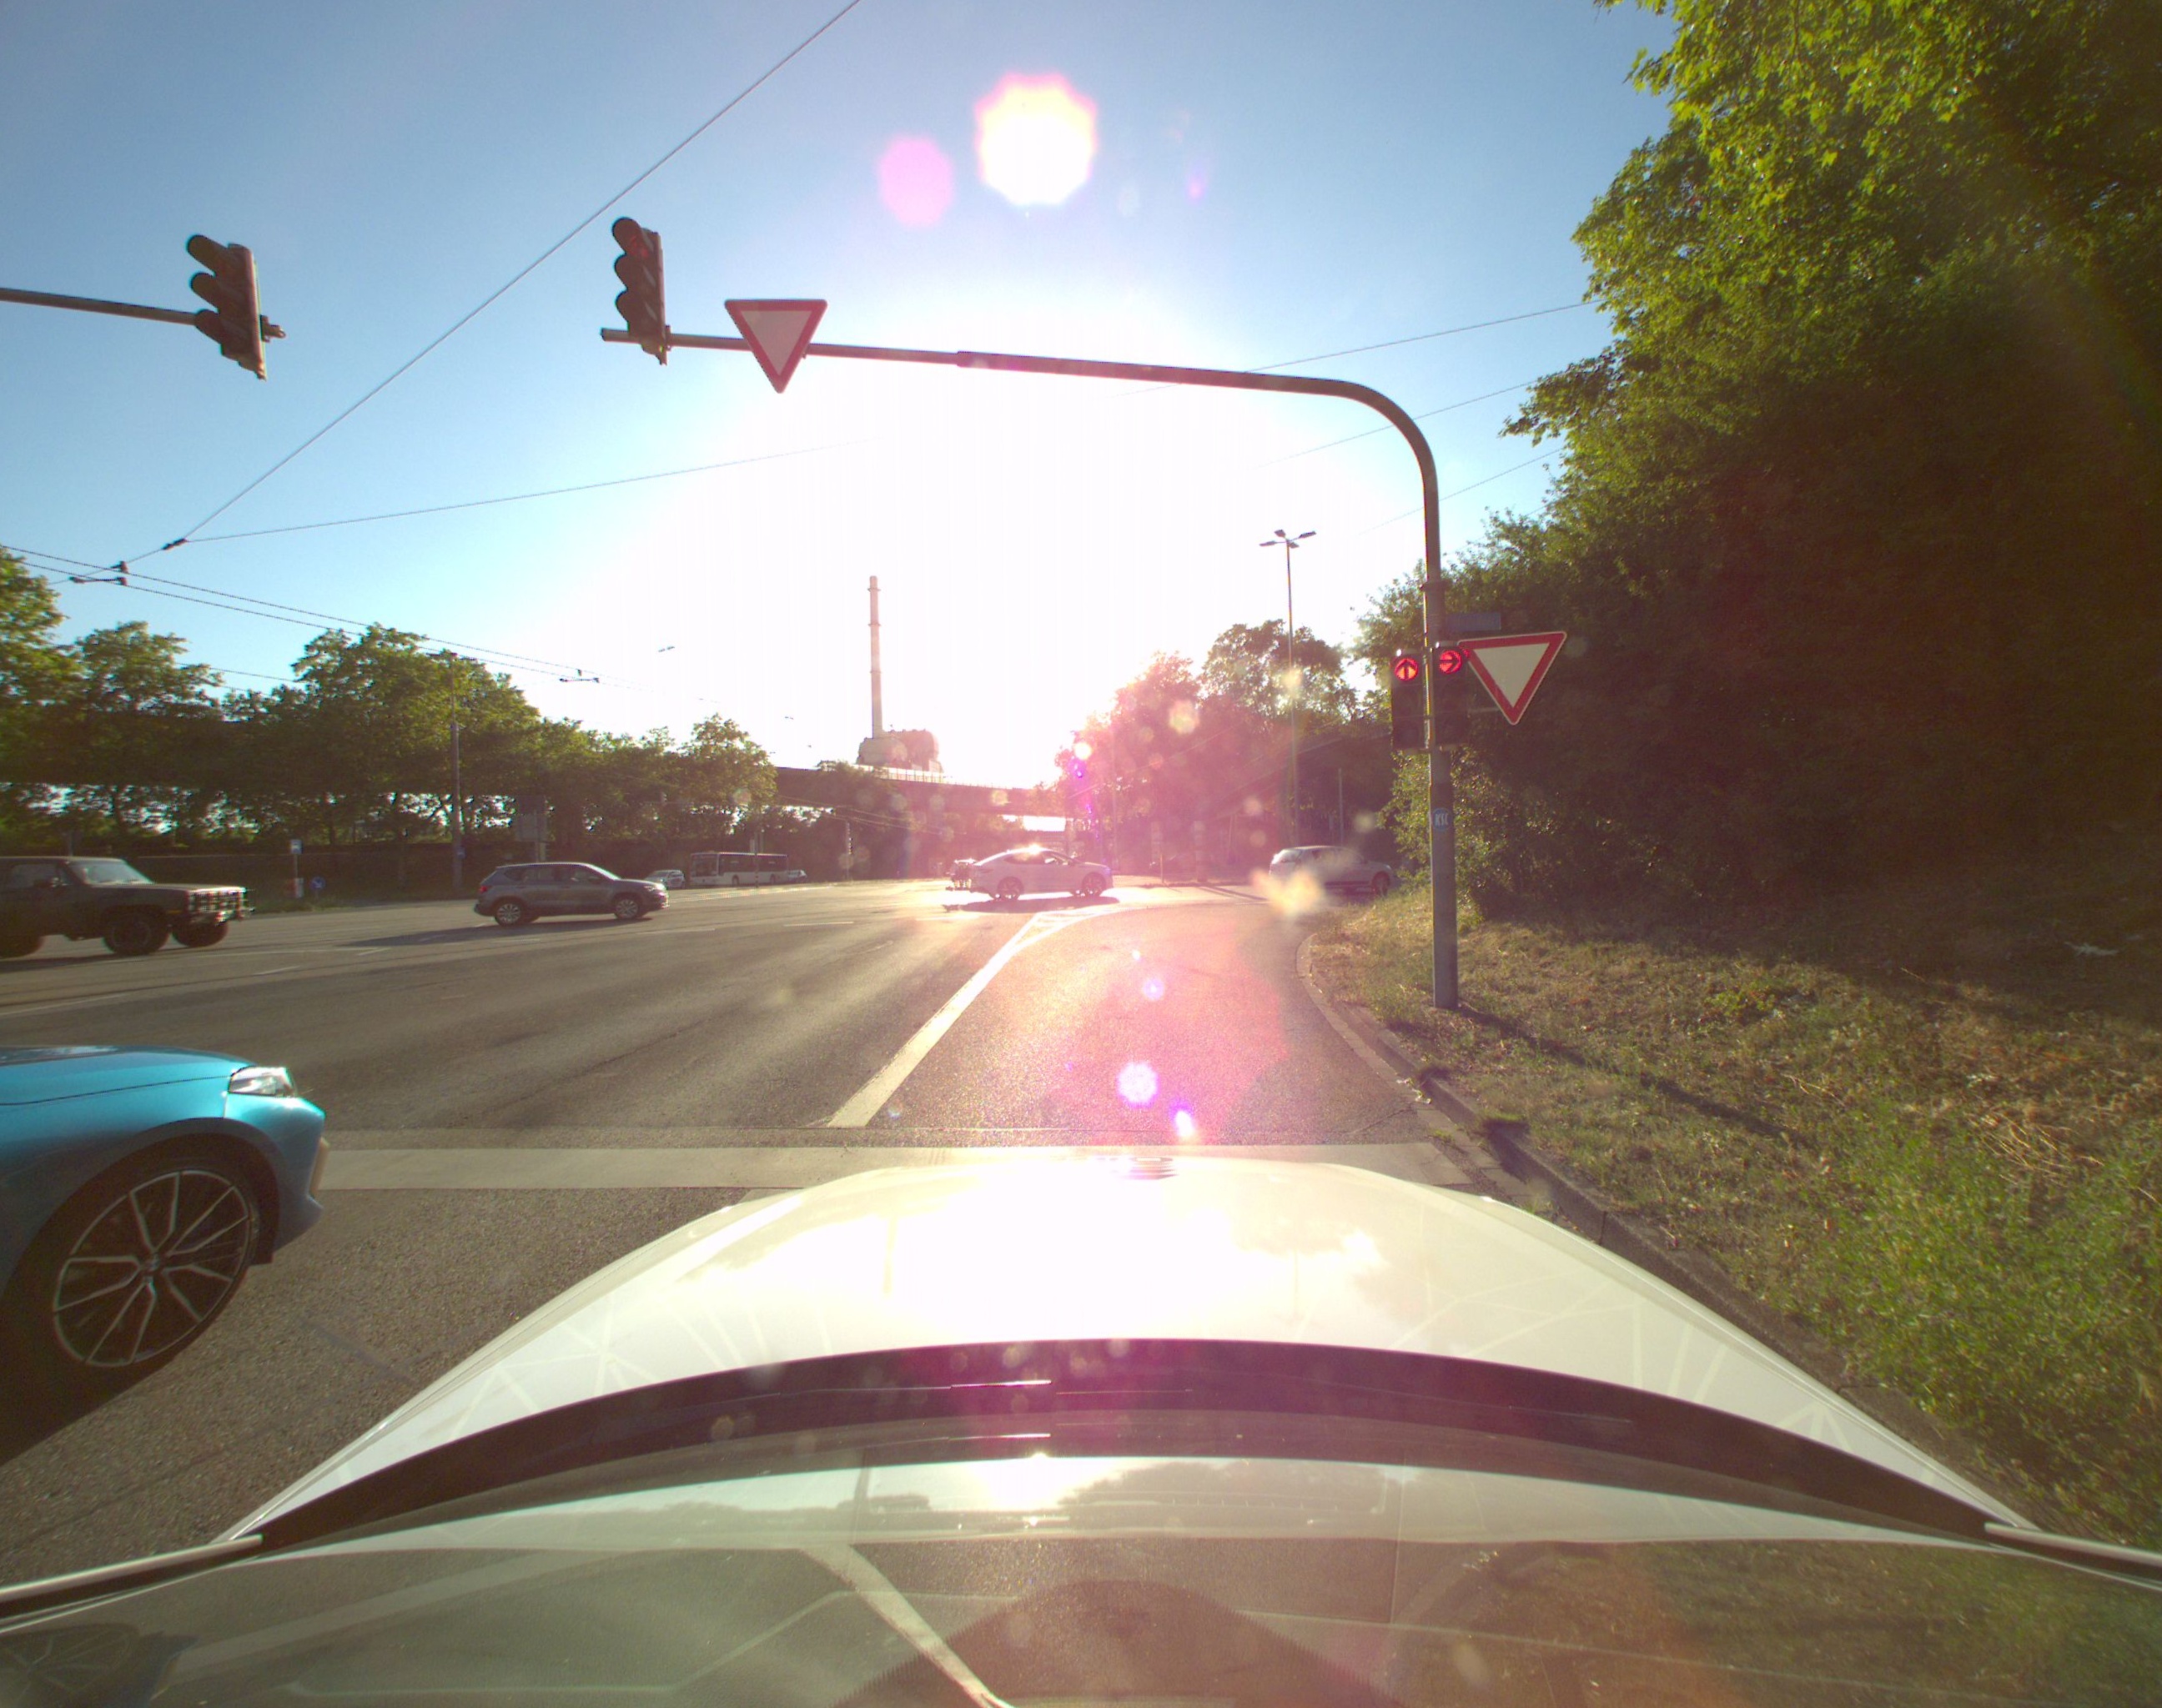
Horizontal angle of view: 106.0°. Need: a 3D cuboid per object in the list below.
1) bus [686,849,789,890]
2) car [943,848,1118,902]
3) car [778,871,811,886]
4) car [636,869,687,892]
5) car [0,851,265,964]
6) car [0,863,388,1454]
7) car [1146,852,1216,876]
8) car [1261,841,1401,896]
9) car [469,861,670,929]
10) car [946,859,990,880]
[{"bbox_3d":[-29.435,1.376,70.681,2.532,3.130,12.931,-2,-2,4],"label":"bus"},{"bbox_3d":[-1.617,0.632,26.273,5.366,1.575,1.729,-1,0,-19],"label":"car"},{"bbox_3d":[-28.580,2.452,81.410,1.600,1.419,4.012,-1,0,3],"label":"car"},{"bbox_3d":[-30.135,1.852,58.621,1.601,1.512,4.007,-1,0,0],"label":"car"},{"bbox_3d":[-19.467,0.983,15.619,4.945,1.991,2.023,-1,0,-20],"label":"car"},{"bbox_3d":[-3.563,0.798,1.074,1.709,1.466,4.205,-2,0,-1],"label":"car"},{"bbox_3d":[7.021,0.669,57.078,4.585,1.575,1.685,-1,0,-16],"label":"car"},{"bbox_3d":[7.819,0.429,25.527,4.001,1.575,1.682,-1,0,-20],"label":"car"},{"bbox_3d":[-13.398,1.019,21.633,4.253,1.575,1.681,-1,0,-23],"label":"car"},{"bbox_3d":[-7.797,1.048,56.530,1.654,1.405,4.211,-1,0,13],"label":"car"}]
